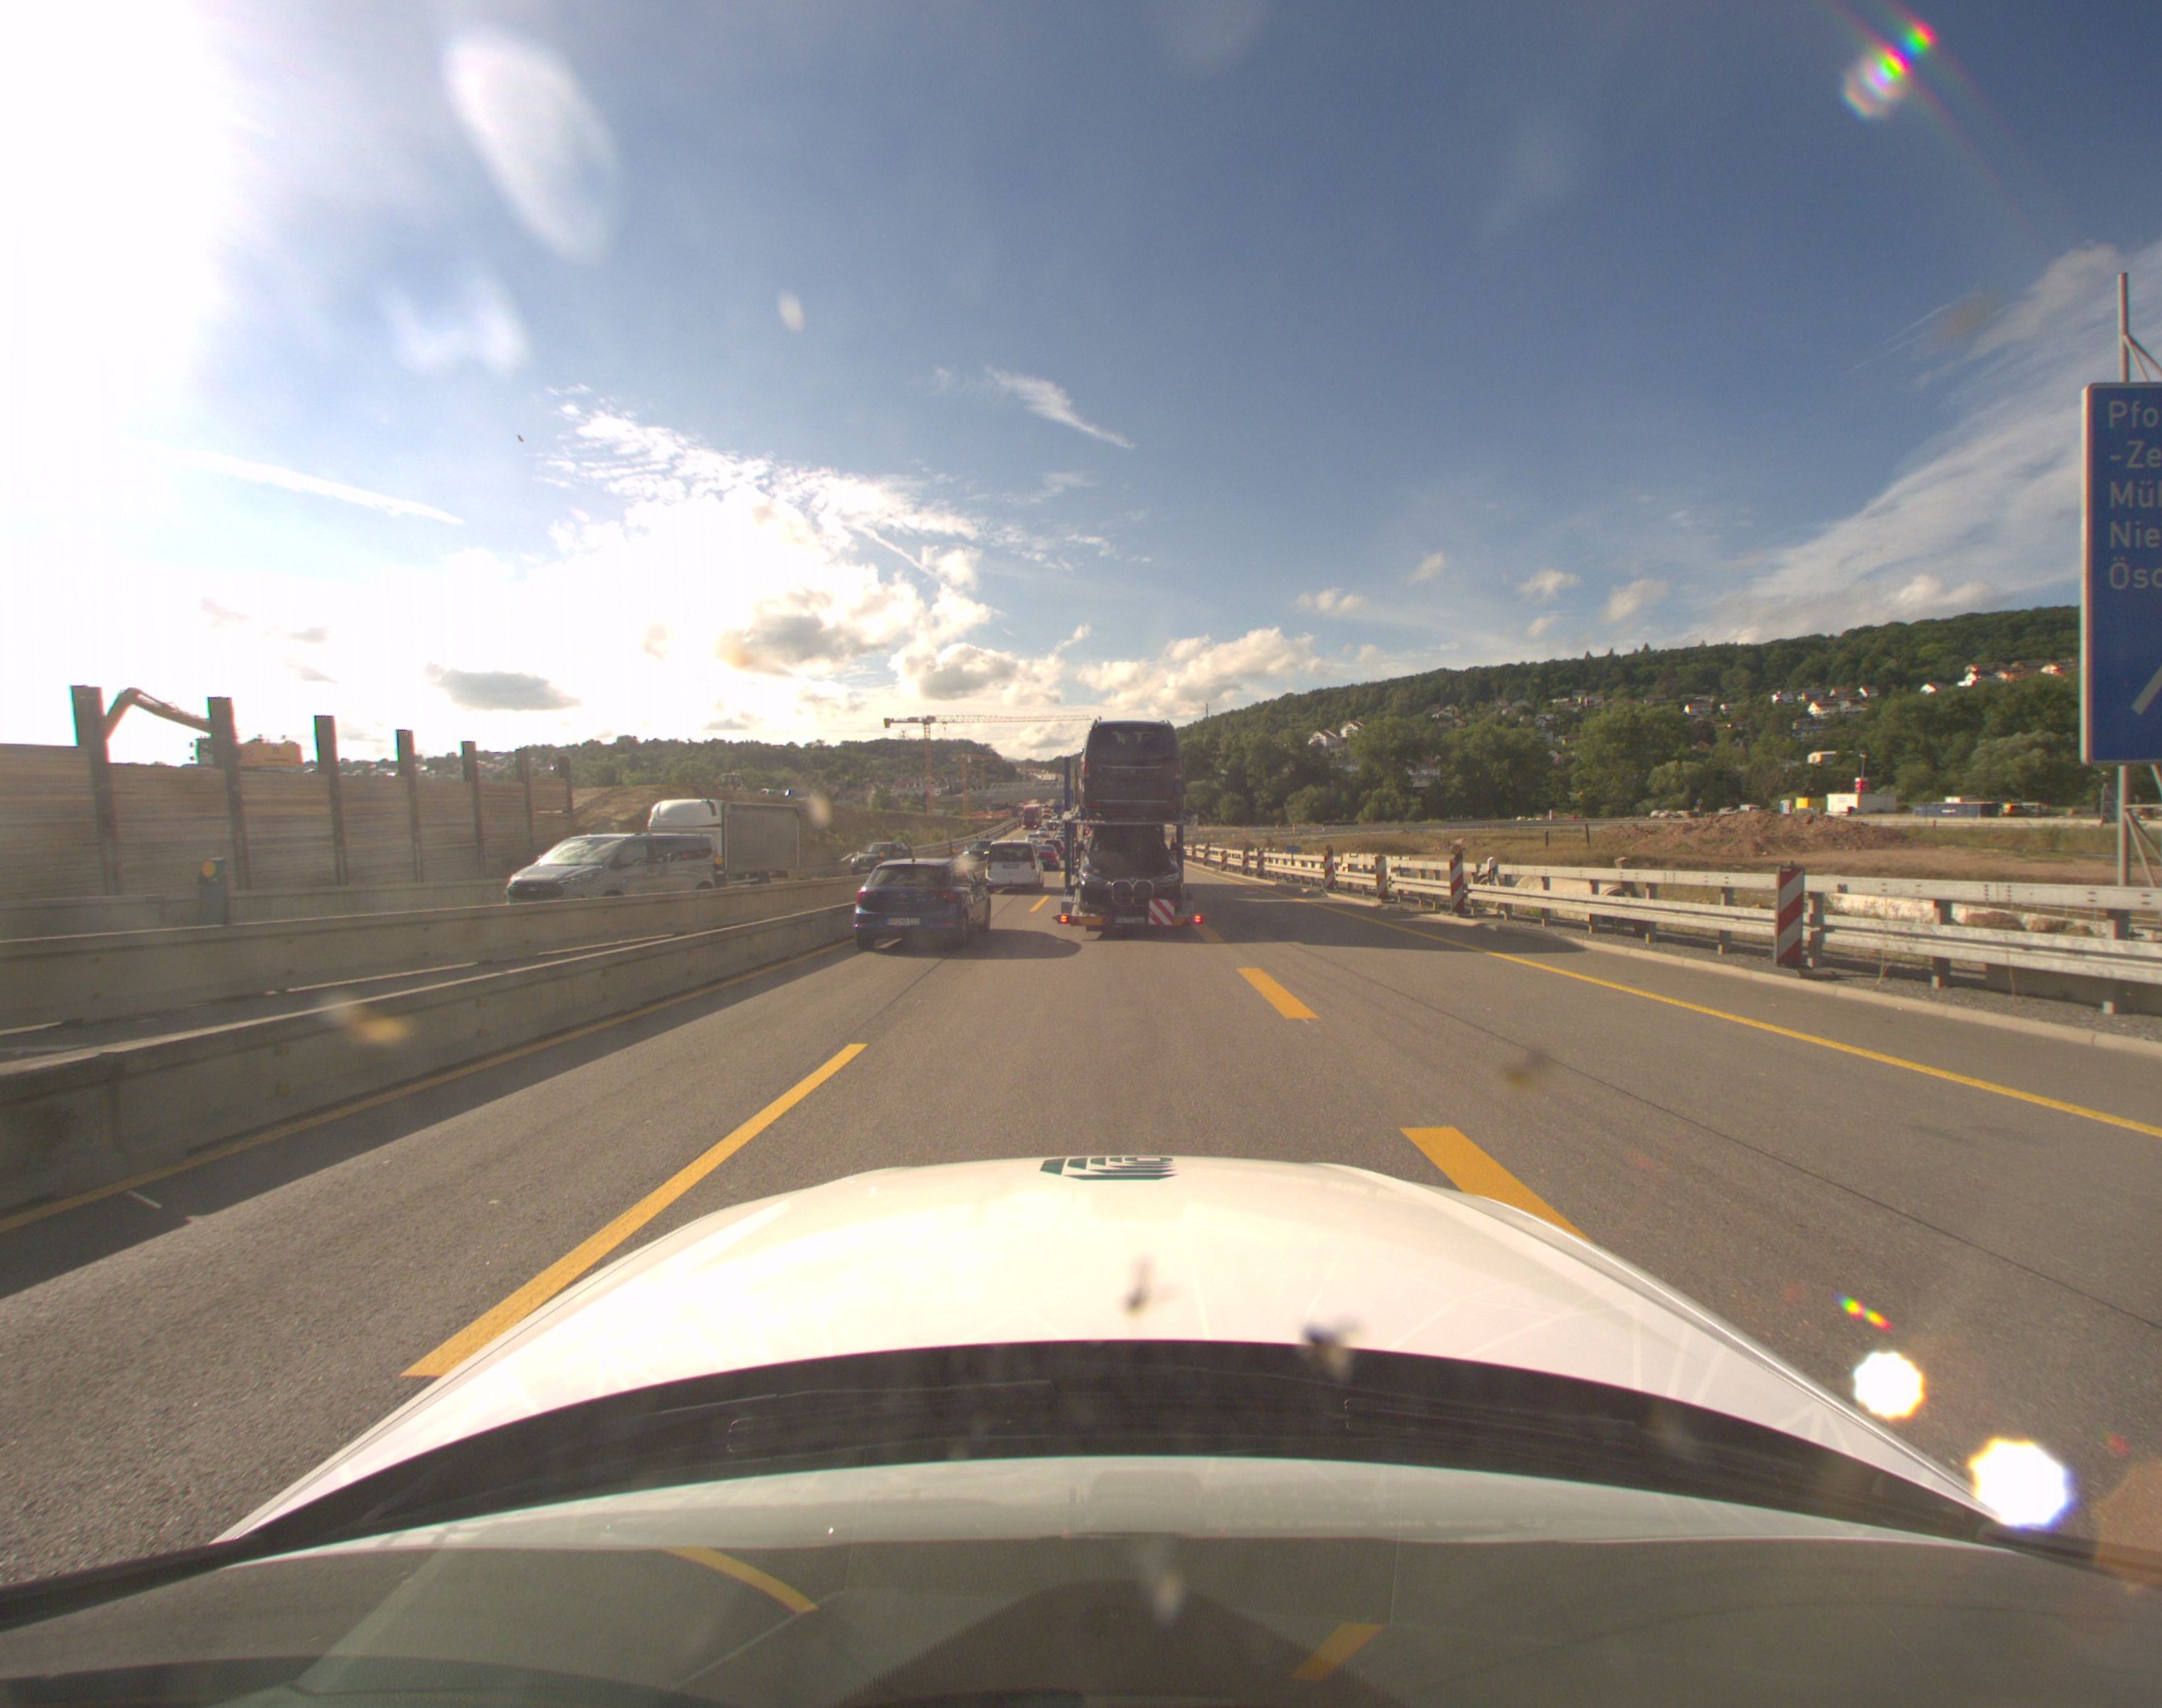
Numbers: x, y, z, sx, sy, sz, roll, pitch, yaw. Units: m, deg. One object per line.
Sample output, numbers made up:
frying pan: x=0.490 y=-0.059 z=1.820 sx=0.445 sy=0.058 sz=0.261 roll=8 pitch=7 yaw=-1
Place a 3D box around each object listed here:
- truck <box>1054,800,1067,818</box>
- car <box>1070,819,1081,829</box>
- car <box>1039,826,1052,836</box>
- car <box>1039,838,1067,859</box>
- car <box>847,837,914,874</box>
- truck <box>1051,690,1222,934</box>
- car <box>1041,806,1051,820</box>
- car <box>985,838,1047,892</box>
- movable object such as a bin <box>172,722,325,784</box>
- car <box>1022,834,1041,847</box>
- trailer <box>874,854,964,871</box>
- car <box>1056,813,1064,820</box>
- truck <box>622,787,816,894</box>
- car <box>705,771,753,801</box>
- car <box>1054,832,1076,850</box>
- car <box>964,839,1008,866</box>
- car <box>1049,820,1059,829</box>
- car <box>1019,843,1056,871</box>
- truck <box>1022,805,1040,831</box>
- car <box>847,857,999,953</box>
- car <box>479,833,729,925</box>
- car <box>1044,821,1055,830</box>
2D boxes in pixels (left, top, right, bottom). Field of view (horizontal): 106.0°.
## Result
truck: x=-6.514 y=-14.123 z=255.398 sx=2.809 sy=4.788 sz=13.068 roll=0 pitch=-1 yaw=4
car: x=-1.071 y=-5.618 z=152.046 sx=1.839 sy=1.648 sz=4.502 roll=0 pitch=1 yaw=-2
car: x=-5.138 y=-3.265 z=117.417 sx=1.749 sy=1.439 sz=3.804 roll=0 pitch=1 yaw=0
car: x=-2.169 y=-0.409 z=64.084 sx=1.986 sy=1.552 sz=4.001 roll=0 pitch=-1 yaw=1
car: x=-10.302 y=0.058 z=42.164 sx=1.984 sy=1.804 sz=4.451 roll=0 pitch=0 yaw=5
truck: x=0.954 y=-0.689 z=22.749 sx=2.744 sy=3.954 sz=18.888 roll=1 pitch=0 yaw=0
car: x=-8.476 y=-9.931 z=198.448 sx=1.986 sy=2.880 sz=6.066 roll=0 pitch=-1 yaw=2
car: x=-2.240 y=0.394 z=29.090 sx=1.817 sy=1.792 sz=4.000 roll=0 pitch=-1 yaw=1
movable object such as a bin: x=-53.992 y=-6.487 z=52.988 sx=5.707 sy=3.270 sz=4.525 roll=0 pitch=-1 yaw=12
car: x=-5.716 y=-1.600 z=94.195 sx=1.847 sy=1.439 sz=4.558 roll=0 pitch=1 yaw=0
trailer: x=-9.571 y=0.489 z=49.560 sx=2.339 sy=0.940 sz=10.347 roll=0 pitch=0 yaw=6
car: x=-5.033 y=-8.859 z=193.419 sx=1.839 sy=1.648 sz=4.234 roll=0 pitch=1 yaw=-1
truck: x=-12.517 y=-0.374 z=29.119 sx=2.685 sy=3.311 sz=7.553 roll=0 pitch=-1 yaw=8
car: x=-32.761 y=-6.313 z=76.030 sx=1.987 sy=2.140 sz=5.321 roll=-5 pitch=-1 yaw=0
car: x=-1.577 y=-1.267 z=81.433 sx=1.986 sy=1.666 sz=4.001 roll=0 pitch=-1 yaw=1
car: x=-6.030 y=-0.101 z=52.071 sx=1.844 sy=1.635 sz=4.756 roll=0 pitch=1 yaw=5
car: x=-5.278 y=-5.708 z=159.816 sx=1.839 sy=1.648 sz=4.502 roll=0 pitch=1 yaw=-2
car: x=-2.483 y=0.188 z=47.510 sx=1.988 sy=1.556 sz=4.398 roll=0 pitch=-1 yaw=-1
truck: x=-8.809 y=-6.275 z=144.484 sx=2.906 sy=4.386 sz=6.284 roll=1 pitch=1 yaw=-1
car: x=-2.550 y=0.765 z=14.111 sx=1.715 sy=1.422 sz=4.002 roll=0 pitch=0 yaw=2
car: x=-10.366 y=0.450 z=18.316 sx=2.113 sy=1.765 sz=5.044 roll=0 pitch=1 yaw=9
car: x=-5.388 y=-4.877 z=139.790 sx=1.816 sy=1.439 sz=4.612 roll=0 pitch=1 yaw=-1
